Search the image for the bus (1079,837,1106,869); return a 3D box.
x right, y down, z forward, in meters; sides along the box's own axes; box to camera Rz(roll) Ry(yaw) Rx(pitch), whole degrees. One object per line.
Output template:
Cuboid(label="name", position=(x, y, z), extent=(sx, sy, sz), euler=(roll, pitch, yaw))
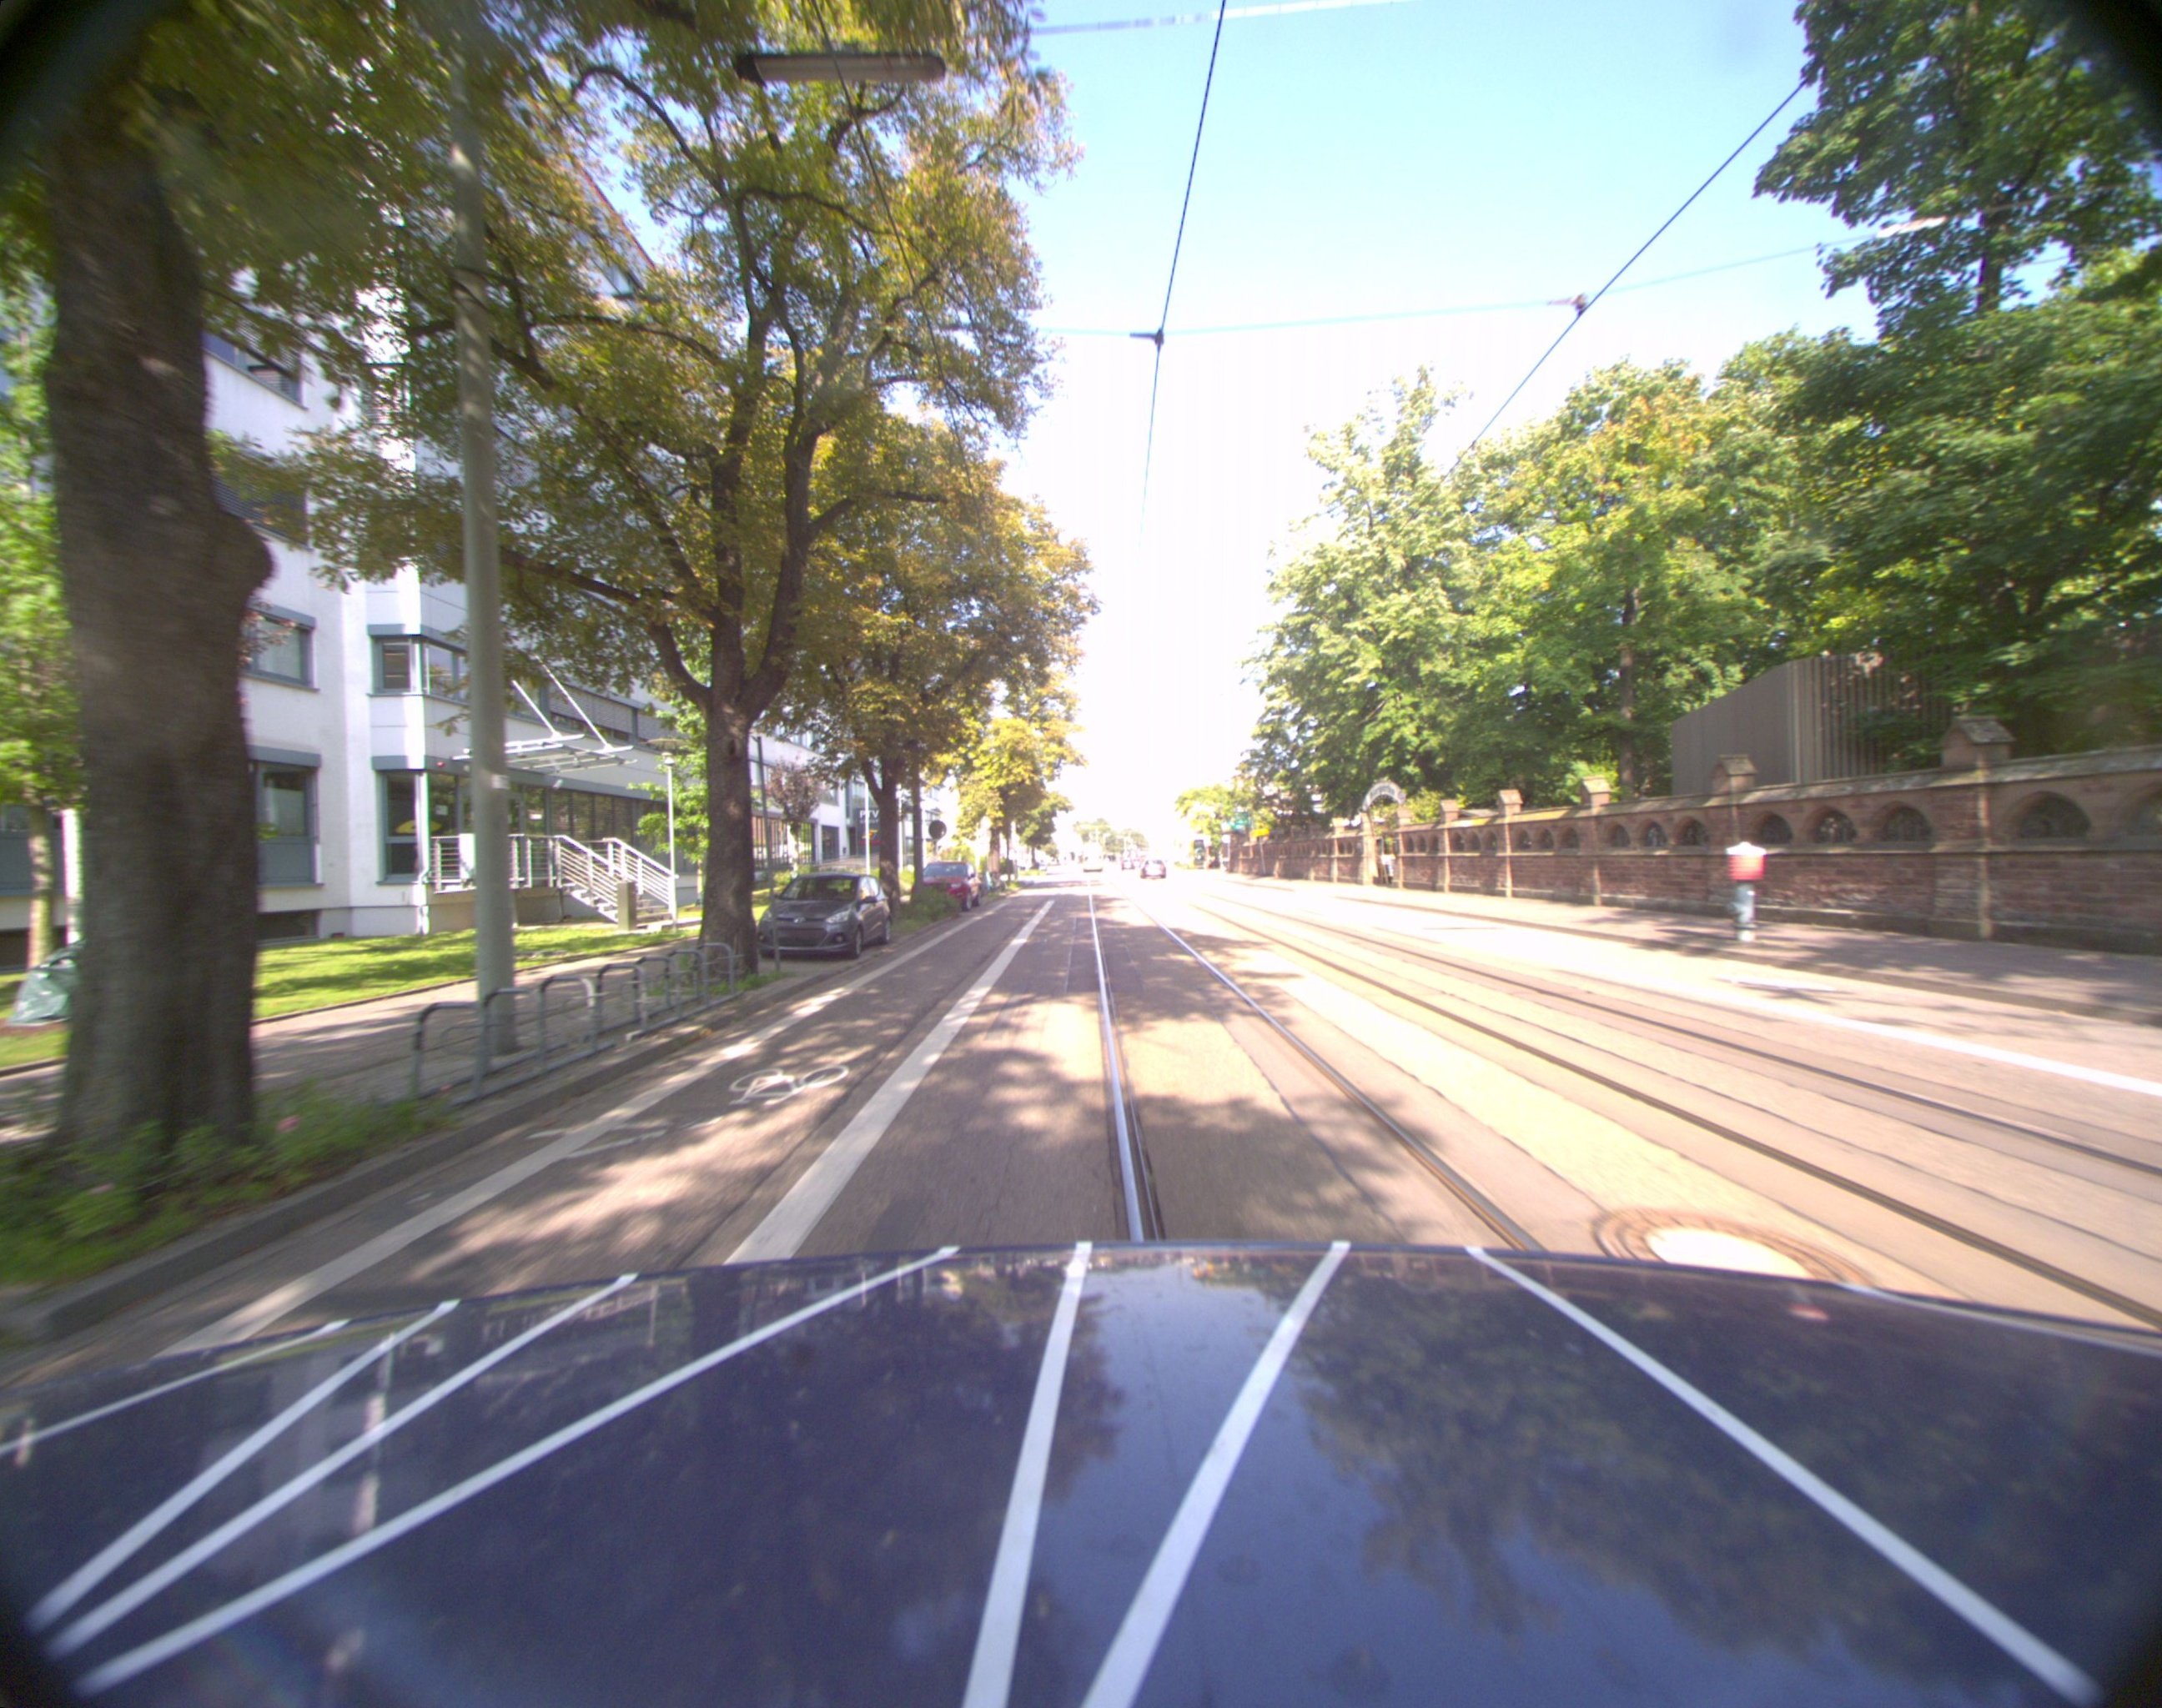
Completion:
Cuboid(label="bus", position=(1.511, -0.128, 95.011), extent=(2.900, 3.771, 9.320), euler=(-2, 0, 3))

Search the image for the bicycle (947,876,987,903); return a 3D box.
Cuboid(label="bicycle", position=(-4.469, 1.397, 29.811), extent=(1.460, 1.009, 0.382), euler=(-1, 0, -3))

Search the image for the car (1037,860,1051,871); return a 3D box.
Cuboid(label="car", position=(-5.940, 1.821, 122.398), extent=(1.755, 1.597, 4.001), euler=(-2, 0, 3))

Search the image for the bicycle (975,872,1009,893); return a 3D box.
Cuboid(label="bicycle", position=(-4.344, 1.387, 37.174), extent=(1.621, 1.009, 0.382), euler=(-1, 0, -3))

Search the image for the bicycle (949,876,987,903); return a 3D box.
Cuboid(label="bicycle", position=(-4.495, 1.402, 30.264), extent=(1.460, 1.009, 0.382), euler=(-1, 0, -3))

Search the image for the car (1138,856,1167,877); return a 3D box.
Cuboid(label="car", position=(5.183, 0.865, 55.290), extent=(1.694, 1.433, 4.000), euler=(-2, 0, 0))

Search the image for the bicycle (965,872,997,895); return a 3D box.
Cuboid(label="bicycle", position=(-4.742, 1.402, 36.222), extent=(1.460, 1.009, 0.382), euler=(-1, 0, -3))

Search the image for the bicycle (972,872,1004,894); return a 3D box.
Cuboid(label="bicycle", position=(-4.489, 1.393, 36.698), extent=(1.460, 1.009, 0.382), euler=(-1, 0, -3))

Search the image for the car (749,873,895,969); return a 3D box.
Cuboid(label="car", position=(-4.620, 1.132, 14.056), extent=(1.566, 1.433, 3.563), euler=(1, 0, -2))

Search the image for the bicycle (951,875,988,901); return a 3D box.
Cuboid(label="bicycle", position=(-4.552, 1.402, 31.104), extent=(1.460, 1.009, 0.382), euler=(-1, 0, -3))

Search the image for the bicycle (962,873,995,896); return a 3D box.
Cuboid(label="bicycle", position=(-4.723, 1.404, 34.937), extent=(1.460, 1.009, 0.382), euler=(-1, 0, -3))

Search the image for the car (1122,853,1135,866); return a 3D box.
Cuboid(label="car", position=(6.374, 0.703, 101.867), extent=(1.754, 1.718, 4.001), euler=(-2, 0, 4))

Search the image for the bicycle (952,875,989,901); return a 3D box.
Cuboid(label="bicycle", position=(-4.582, 1.402, 31.555), extent=(1.460, 1.009, 0.382), euler=(-1, 0, -3))

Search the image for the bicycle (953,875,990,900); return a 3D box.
Cuboid(label="bicycle", position=(-4.614, 1.403, 32.005), extent=(1.460, 1.009, 0.382), euler=(-1, 0, -3))

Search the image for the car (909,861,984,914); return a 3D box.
Cuboid(label="car", position=(-4.538, 1.071, 26.200), extent=(1.866, 1.643, 4.183), euler=(0, 0, -1))
